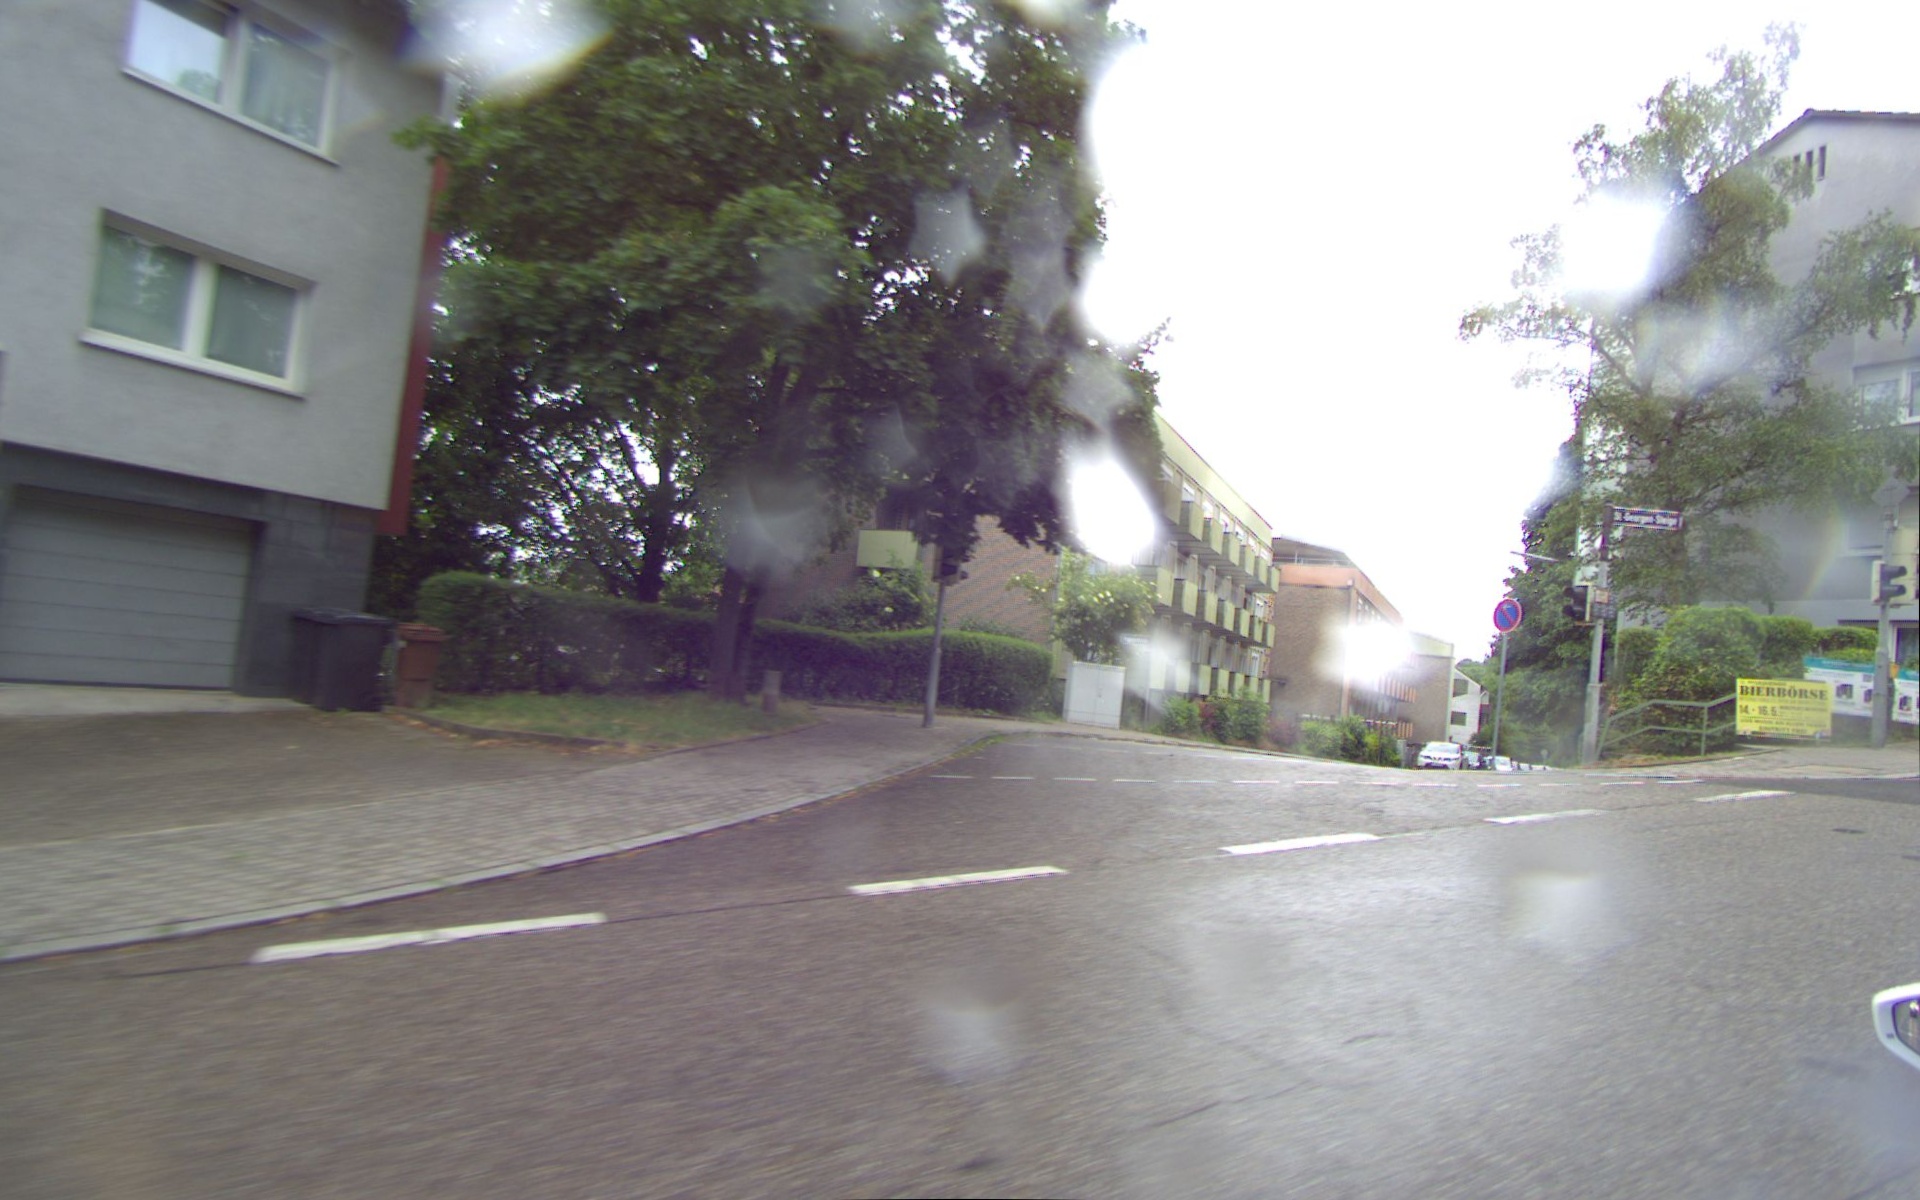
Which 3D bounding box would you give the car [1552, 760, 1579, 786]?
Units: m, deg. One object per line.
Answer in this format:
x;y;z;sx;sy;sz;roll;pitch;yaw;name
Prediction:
57.184;16.315;94.883;2.162;1.672;4.432;0;-1;31;car

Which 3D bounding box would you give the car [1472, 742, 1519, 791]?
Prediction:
27.057;8.360;50.694;1.964;1.839;3.994;3;-1;29;car

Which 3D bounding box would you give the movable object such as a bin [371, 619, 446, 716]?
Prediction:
-6.286;0.760;11.455;0.620;1.029;0.498;3;-1;39;movable object such as a bin

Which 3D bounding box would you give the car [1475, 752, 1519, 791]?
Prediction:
32.580;10.357;60.895;2.162;1.672;4.432;0;-1;31;car

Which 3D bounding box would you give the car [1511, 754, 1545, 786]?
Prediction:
42.840;12.757;75.715;2.162;1.672;4.432;0;-1;31;car

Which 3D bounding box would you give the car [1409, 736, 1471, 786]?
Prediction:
22.222;7.370;46.409;2.162;1.672;4.432;0;-1;31;car

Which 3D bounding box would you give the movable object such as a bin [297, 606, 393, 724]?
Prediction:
-6.738;0.702;11.008;0.552;1.215;0.686;3;-1;38;movable object such as a bin

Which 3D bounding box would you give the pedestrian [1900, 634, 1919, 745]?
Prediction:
14.176;1.312;14.269;1.075;1.561;0.865;4;-1;-29;pedestrian

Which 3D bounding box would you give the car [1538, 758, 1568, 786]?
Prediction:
51.417;14.867;87.044;2.162;1.672;4.432;0;-1;31;car

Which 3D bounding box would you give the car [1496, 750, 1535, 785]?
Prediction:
37.826;11.373;68.307;2.162;1.672;4.432;0;-1;31;car

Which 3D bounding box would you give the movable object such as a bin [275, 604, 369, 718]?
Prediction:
-7.202;0.676;11.350;0.552;1.215;0.686;3;-1;38;movable object such as a bin
